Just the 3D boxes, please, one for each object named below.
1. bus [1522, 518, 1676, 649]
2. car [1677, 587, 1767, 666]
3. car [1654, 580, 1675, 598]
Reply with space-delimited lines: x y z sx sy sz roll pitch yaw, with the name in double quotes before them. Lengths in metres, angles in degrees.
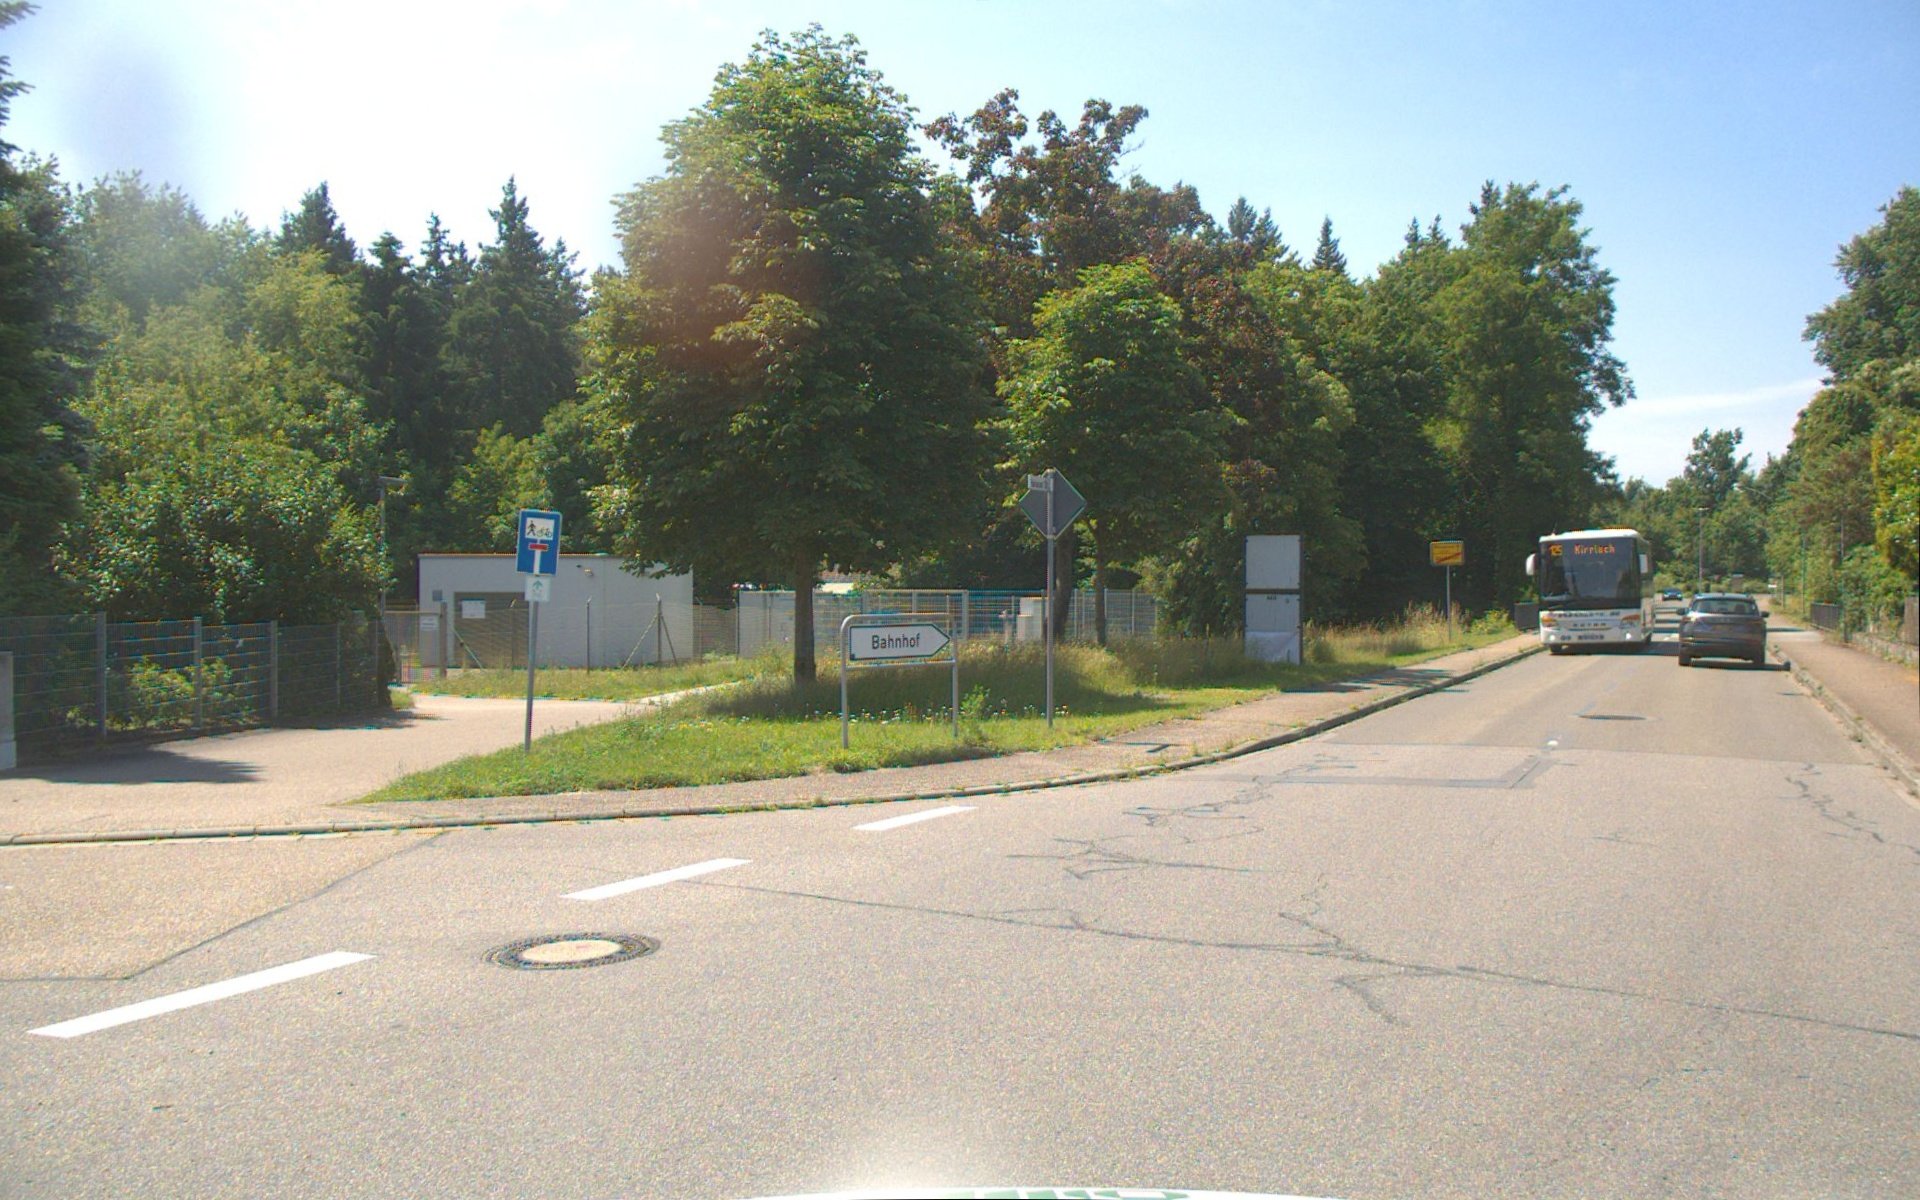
"bus" 18.826 -0.451 48.144 3.119 3.301 12.700 0 0 26
"car" 17.209 0.571 37.327 1.727 1.646 3.997 1 0 25
"car" 73.634 -1.123 172.940 1.910 1.892 4.000 0 0 21
